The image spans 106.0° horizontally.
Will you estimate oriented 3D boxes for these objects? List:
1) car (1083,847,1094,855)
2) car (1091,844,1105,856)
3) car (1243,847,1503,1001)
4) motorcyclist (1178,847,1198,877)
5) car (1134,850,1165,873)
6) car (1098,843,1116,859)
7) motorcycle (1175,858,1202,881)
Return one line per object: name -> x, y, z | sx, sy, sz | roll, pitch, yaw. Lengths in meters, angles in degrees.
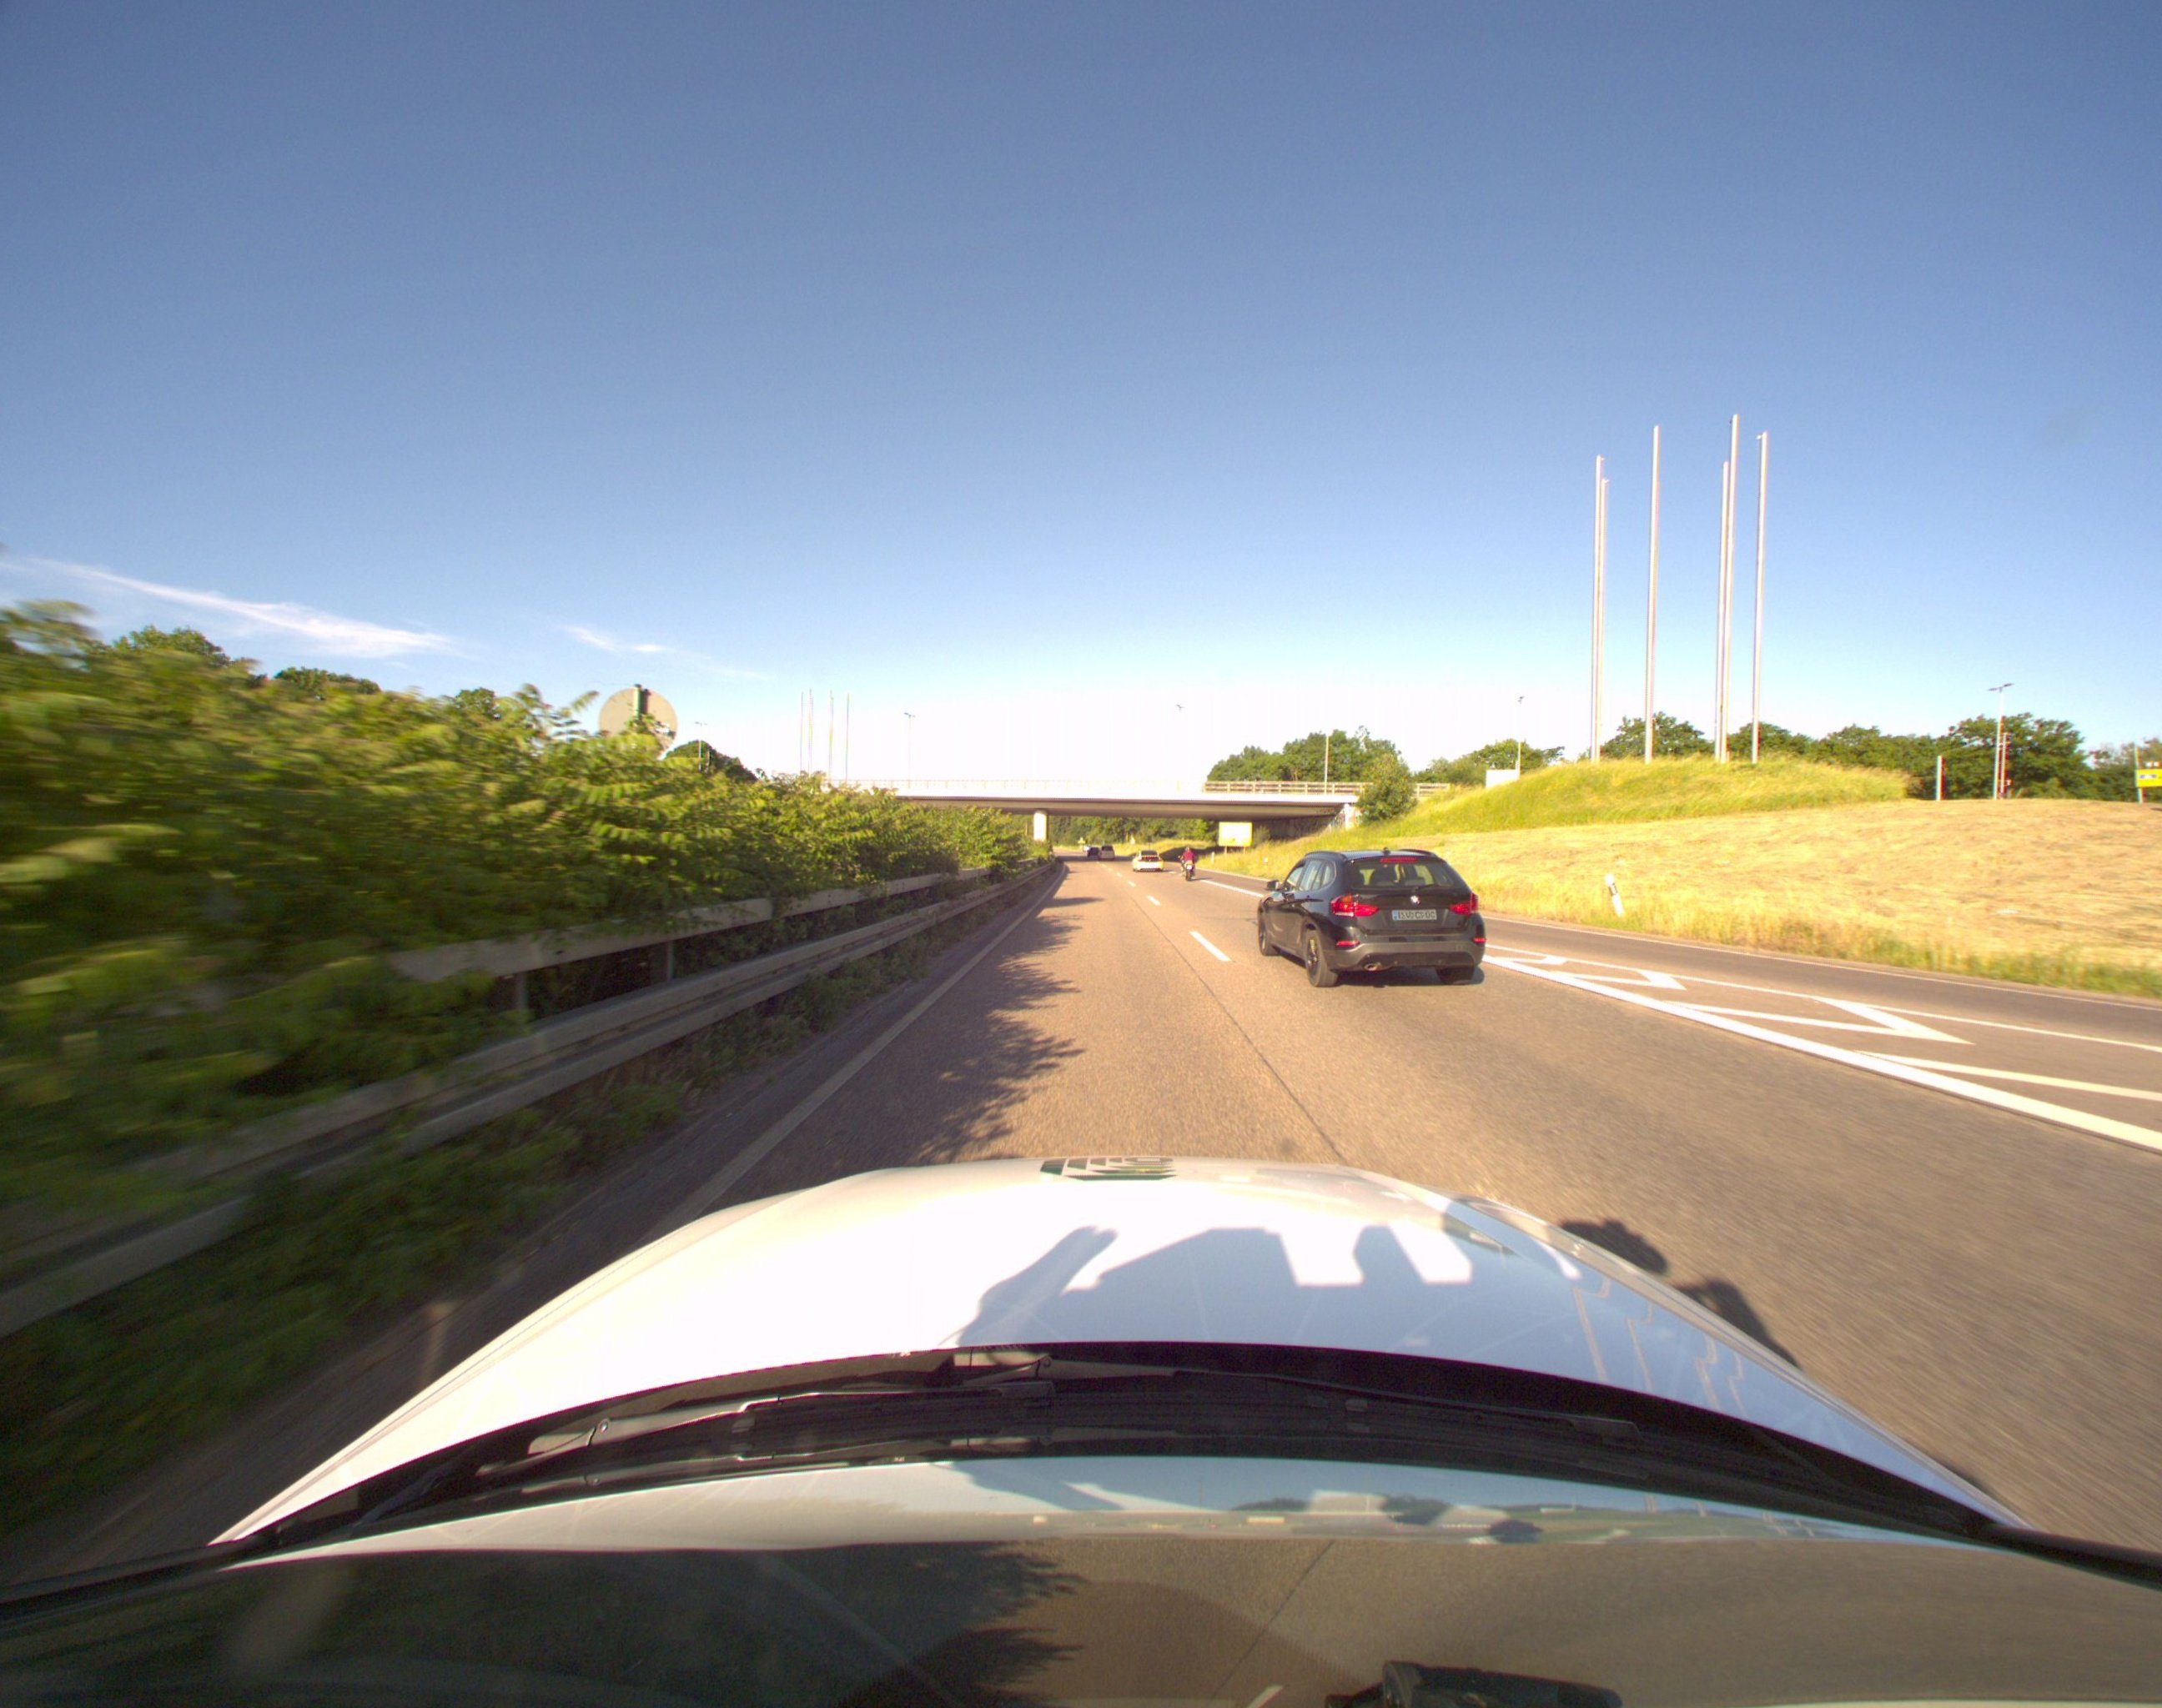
car -> 1.658, -0.710, 178.869 | 1.866, 1.685, 3.993 | 1, 0, -5
car -> 2.394, -0.584, 117.139 | 1.891, 1.767, 4.000 | -1, 1, 0
car -> 3.404, 0.685, 10.508 | 1.693, 1.506, 4.578 | -2, 0, 0
motorcyclist -> 5.263, 0.367, 40.050 | 0.815, 1.447, 1.092 | 0, 0, -4
car -> 4.533, 0.452, 54.474 | 1.890, 1.471, 4.002 | 0, 0, 2
car -> 3.029, -0.318, 94.966 | 1.892, 1.767, 3.997 | -1, 0, -2
motorcycle -> 5.267, 0.743, 39.977 | 0.815, 1.069, 2.832 | 0, 0, -3
